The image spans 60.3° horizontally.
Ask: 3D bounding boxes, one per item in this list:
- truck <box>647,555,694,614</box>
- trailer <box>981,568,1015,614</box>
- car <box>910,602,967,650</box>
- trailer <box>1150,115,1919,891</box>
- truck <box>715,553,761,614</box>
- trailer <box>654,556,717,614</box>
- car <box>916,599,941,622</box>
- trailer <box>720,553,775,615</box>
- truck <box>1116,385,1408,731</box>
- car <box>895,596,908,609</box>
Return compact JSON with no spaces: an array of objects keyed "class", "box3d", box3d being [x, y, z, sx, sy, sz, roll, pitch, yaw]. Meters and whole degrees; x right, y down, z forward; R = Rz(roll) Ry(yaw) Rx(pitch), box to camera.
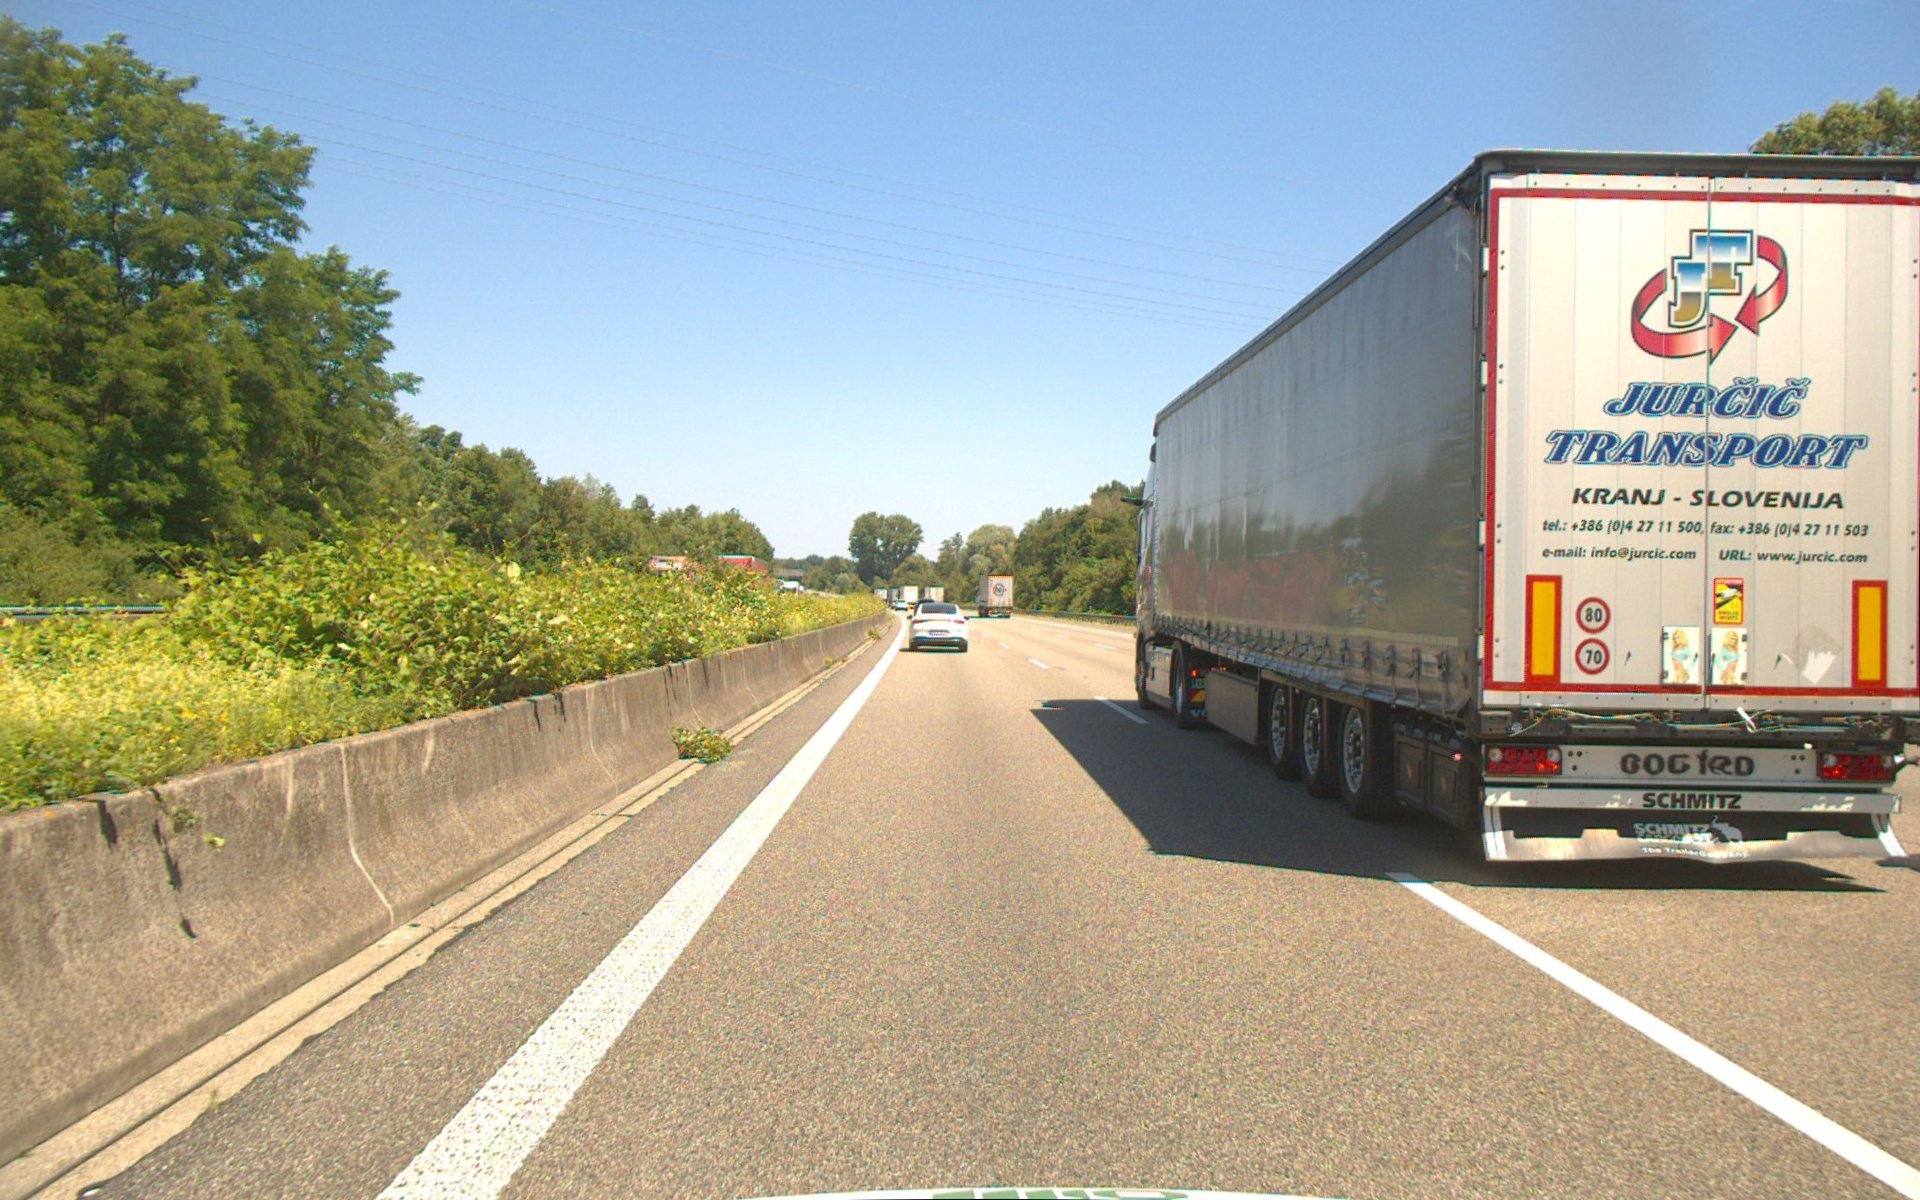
[{"class":"truck","box3d":[-18.446,-0.949,105.655,2.309,3.664,4.162,1,0,-2]},{"class":"trailer","box3d":[3.749,-0.836,166.266,2.571,4.335,14.056,1,0,-2]},{"class":"car","box3d":[-0.650,0.779,51.138,1.680,1.393,3.375,1,0,0]},{"class":"trailer","box3d":[4.017,-0.501,15.551,2.684,4.044,13.652,1,0,-1]},{"class":"truck","box3d":[-14.539,-1.037,108.735,2.416,3.854,5.726,1,0,-3]},{"class":"trailer","box3d":[-18.681,-0.958,113.357,2.324,3.658,14.215,1,0,-2]},{"class":"car","box3d":[-2.612,0.851,137.238,1.953,1.803,3.999,1,0,-1]},{"class":"trailer","box3d":[-14.784,-1.029,115.764,2.416,4.004,14.394,1,0,-2]},{"class":"truck","box3d":[3.894,-0.496,22.857,2.667,4.044,6.499,1,0,-1]},{"class":"car","box3d":[-8.550,0.384,240.081,1.690,1.814,3.996,1,0,-5]}]
